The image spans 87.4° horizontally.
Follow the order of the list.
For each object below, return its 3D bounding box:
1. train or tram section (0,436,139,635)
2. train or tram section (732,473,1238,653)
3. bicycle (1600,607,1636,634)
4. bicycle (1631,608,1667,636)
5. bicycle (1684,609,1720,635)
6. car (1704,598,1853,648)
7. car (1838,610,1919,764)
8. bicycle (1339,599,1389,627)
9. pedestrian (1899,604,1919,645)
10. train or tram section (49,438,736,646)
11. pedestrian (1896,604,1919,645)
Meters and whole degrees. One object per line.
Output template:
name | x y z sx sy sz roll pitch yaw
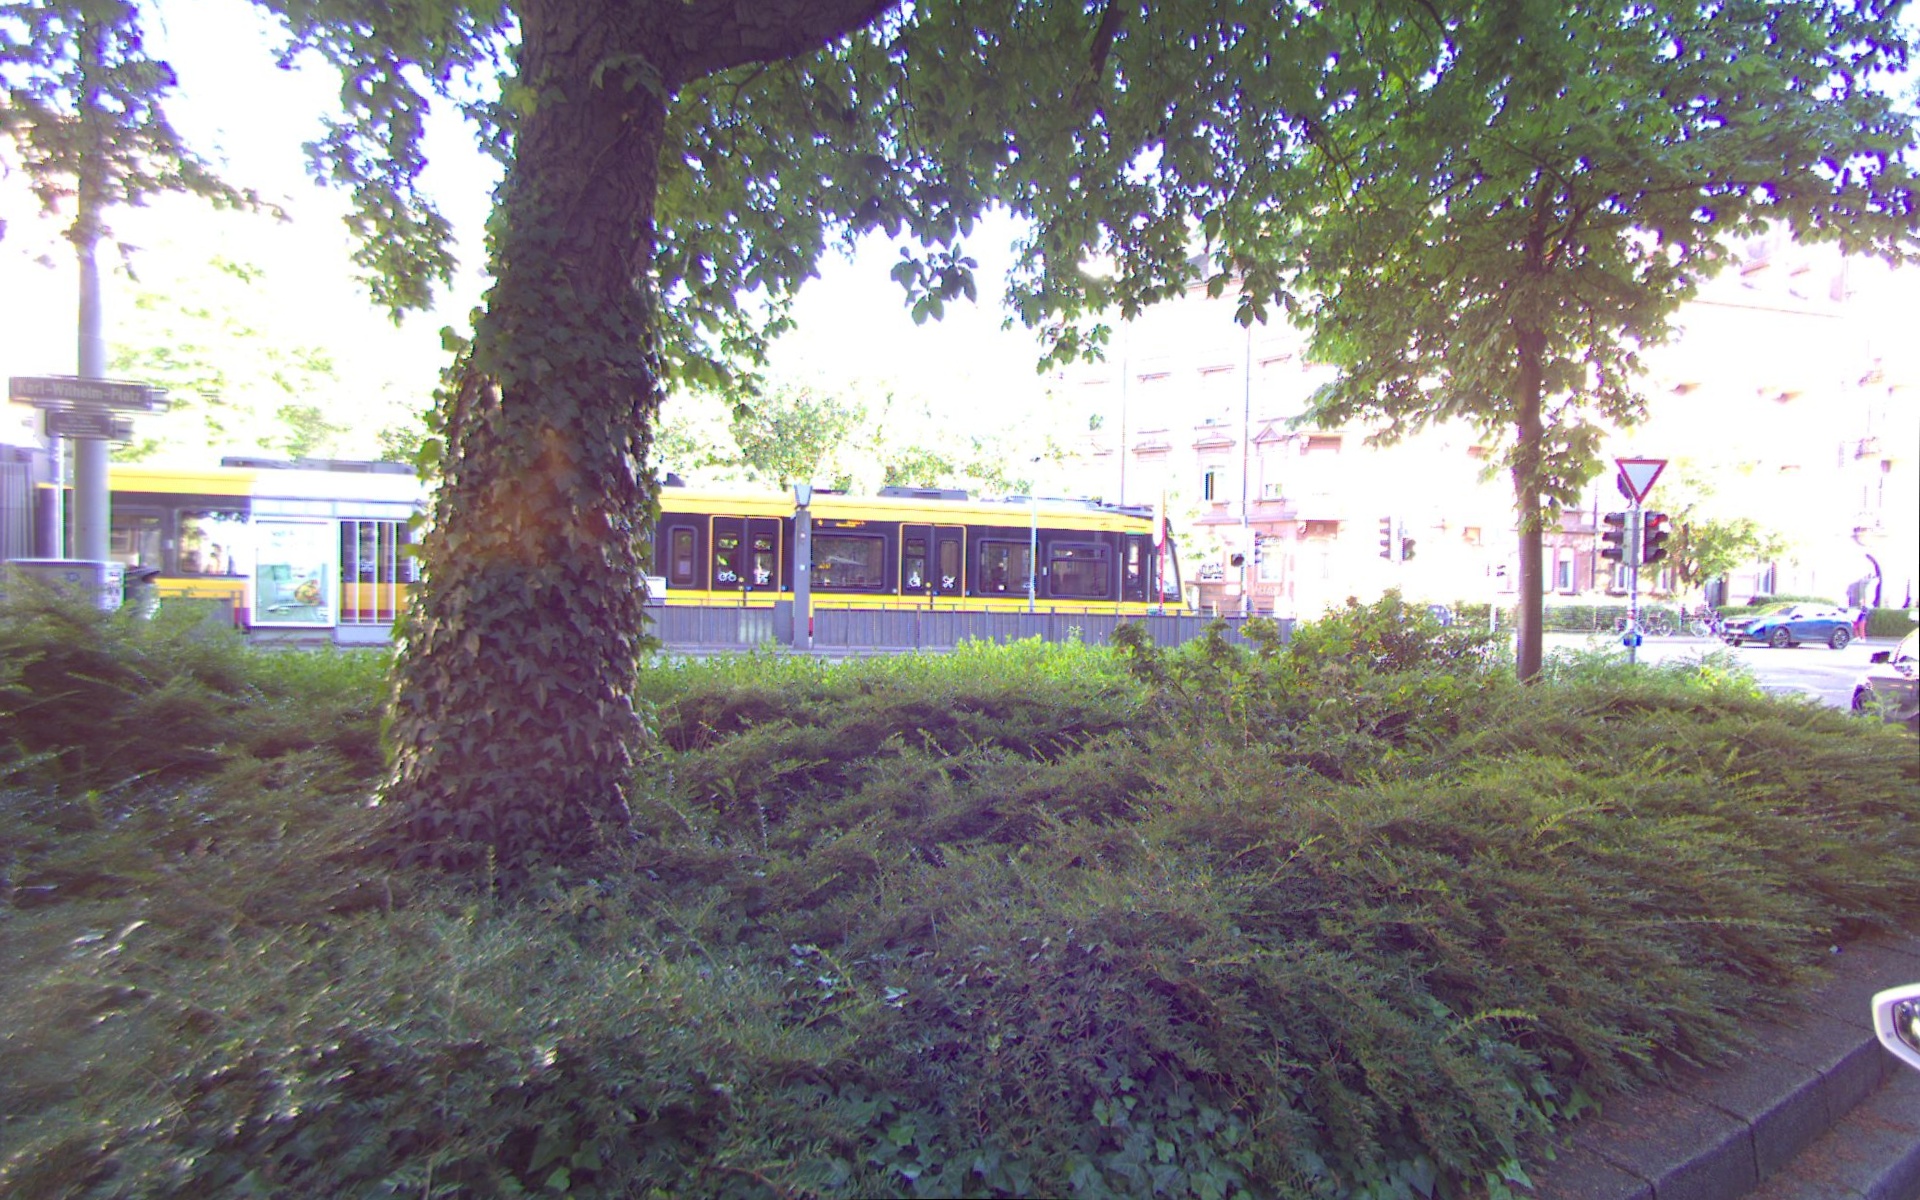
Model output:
train or tram section | -23.006 -1.332 18.306 12.463 3.605 2.766 1 1 -13
train or tram section | 0.580 -0.737 23.855 11.598 3.668 2.793 1 1 -13
bicycle | 27.664 0.867 42.225 1.210 1.122 0.442 1 2 -7
bicycle | 29.054 0.935 42.369 1.210 1.122 0.442 1 2 -7
bicycle | 31.585 0.921 42.757 1.211 1.052 0.442 1 2 -8
car | 29.987 0.838 36.864 4.333 1.672 1.944 1 1 -12
car | 10.767 0.886 10.273 1.762 1.562 3.855 0 0 27
bicycle | 17.574 0.566 43.727 1.928 1.122 0.443 3 2 22
pedestrian | 40.599 1.035 42.514 0.880 1.688 0.712 1 4 5
train or tram section | -11.002 -1.033 21.126 12.206 3.635 2.779 1 1 -13
pedestrian | 41.031 1.034 43.332 0.624 1.738 0.664 1 1 1
